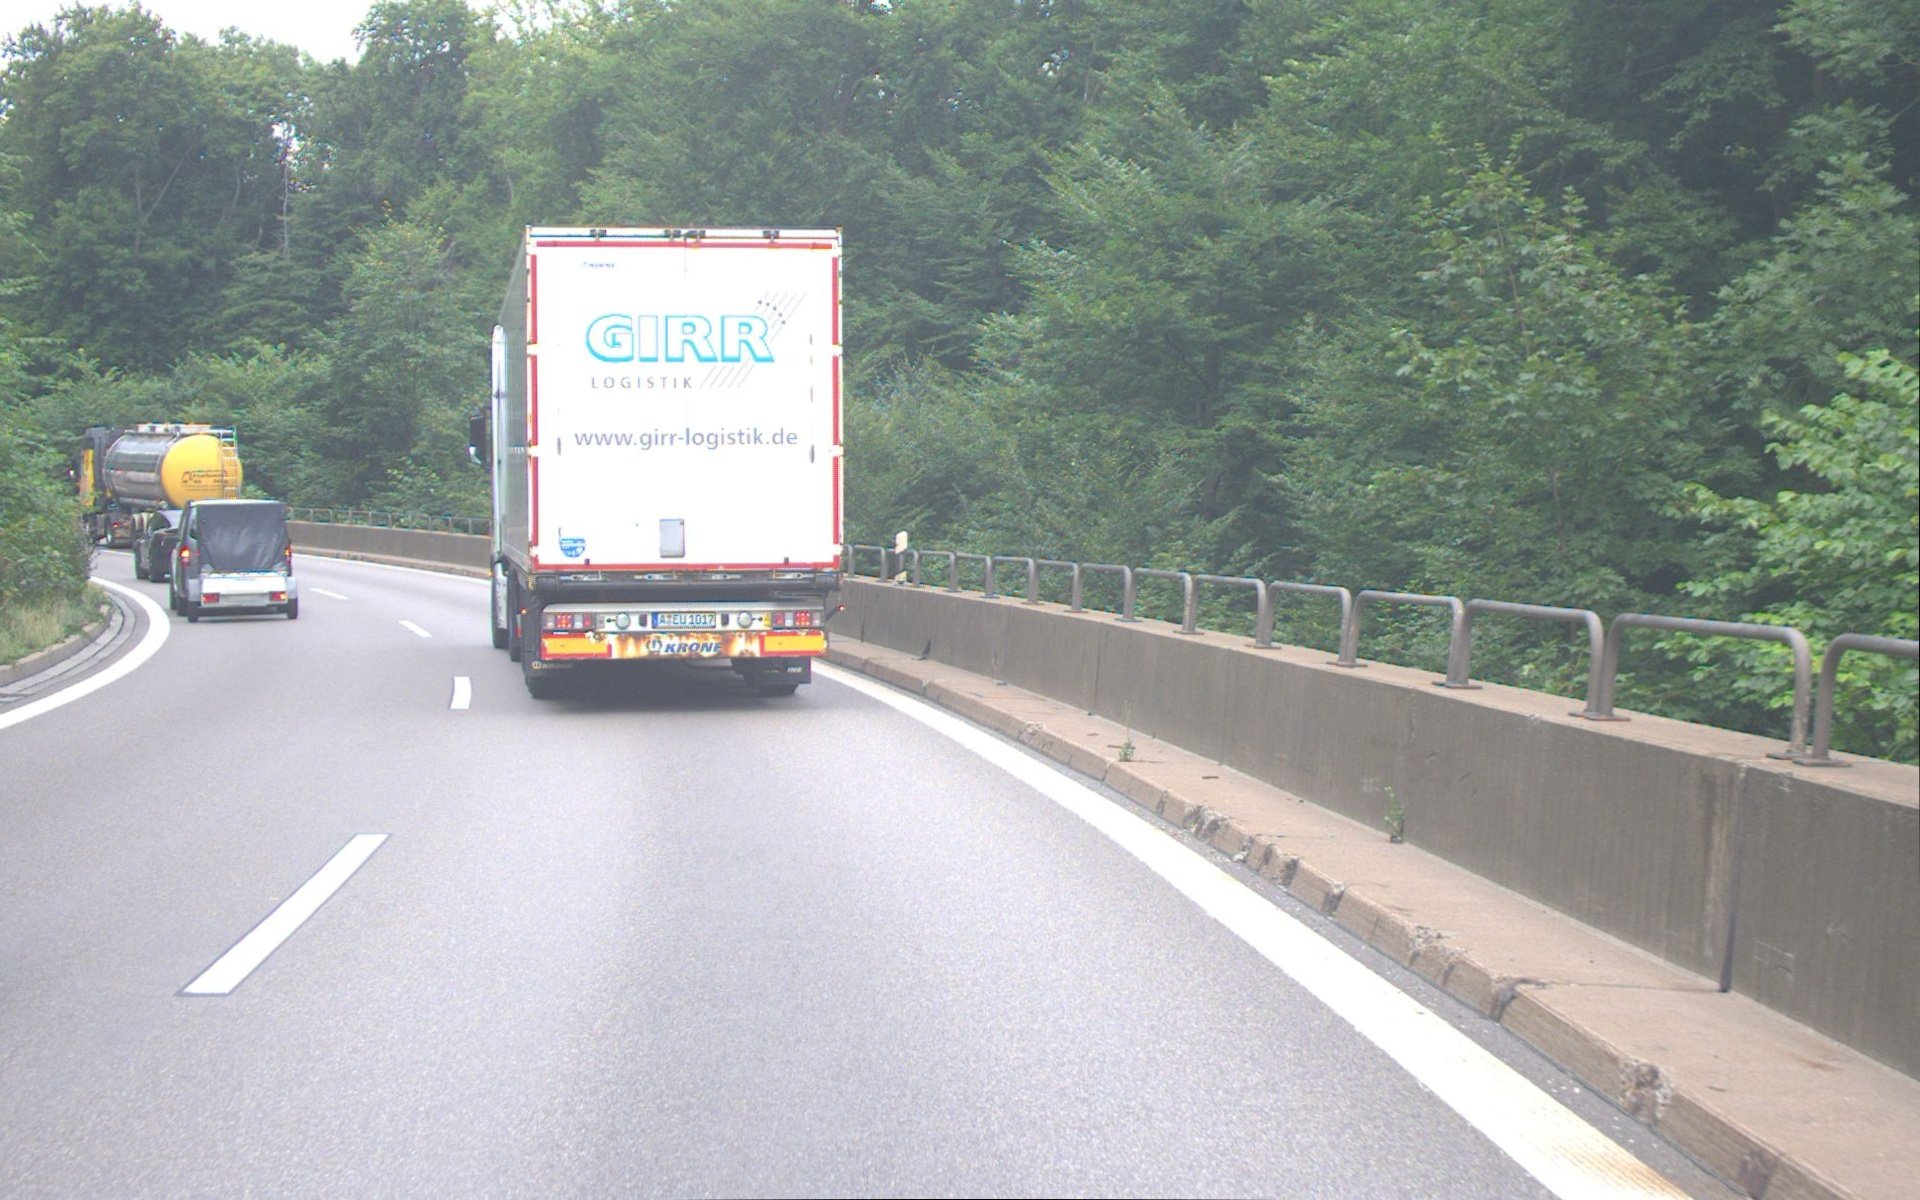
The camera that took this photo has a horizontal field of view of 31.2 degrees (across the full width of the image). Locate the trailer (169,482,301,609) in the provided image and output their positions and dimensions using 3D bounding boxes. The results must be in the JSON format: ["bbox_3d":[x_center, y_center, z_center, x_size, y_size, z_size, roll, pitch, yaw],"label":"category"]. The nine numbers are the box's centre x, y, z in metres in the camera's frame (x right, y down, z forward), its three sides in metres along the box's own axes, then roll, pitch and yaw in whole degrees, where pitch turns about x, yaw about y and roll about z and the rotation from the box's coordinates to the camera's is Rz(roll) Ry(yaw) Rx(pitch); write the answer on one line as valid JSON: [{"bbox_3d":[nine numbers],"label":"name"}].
[{"bbox_3d":[-11.583,-0.863,55.058,1.970,1.933,3.431,1,0,-11],"label":"trailer"}]

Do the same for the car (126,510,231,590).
[{"bbox_3d":[-17.305,-1.117,76.031,1.993,1.711,4.001,0,1,-17],"label":"car"}]

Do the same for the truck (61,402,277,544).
[{"bbox_3d":[-23.954,-3.698,103.381,3.057,3.972,13.700,0,1,-27],"label":"truck"}]

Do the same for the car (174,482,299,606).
[{"bbox_3d":[-12.507,-0.956,59.449,1.993,2.007,5.542,1,0,-12],"label":"car"}]

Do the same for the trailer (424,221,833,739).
[{"bbox_3d":[-3.471,-1.246,33.427,3.057,3.972,12.141,3,3,-8],"label":"trailer"}]

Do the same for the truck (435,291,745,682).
[{"bbox_3d":[-4.389,-1.362,39.803,3.057,3.972,7.190,3,2,-8],"label":"truck"}]
